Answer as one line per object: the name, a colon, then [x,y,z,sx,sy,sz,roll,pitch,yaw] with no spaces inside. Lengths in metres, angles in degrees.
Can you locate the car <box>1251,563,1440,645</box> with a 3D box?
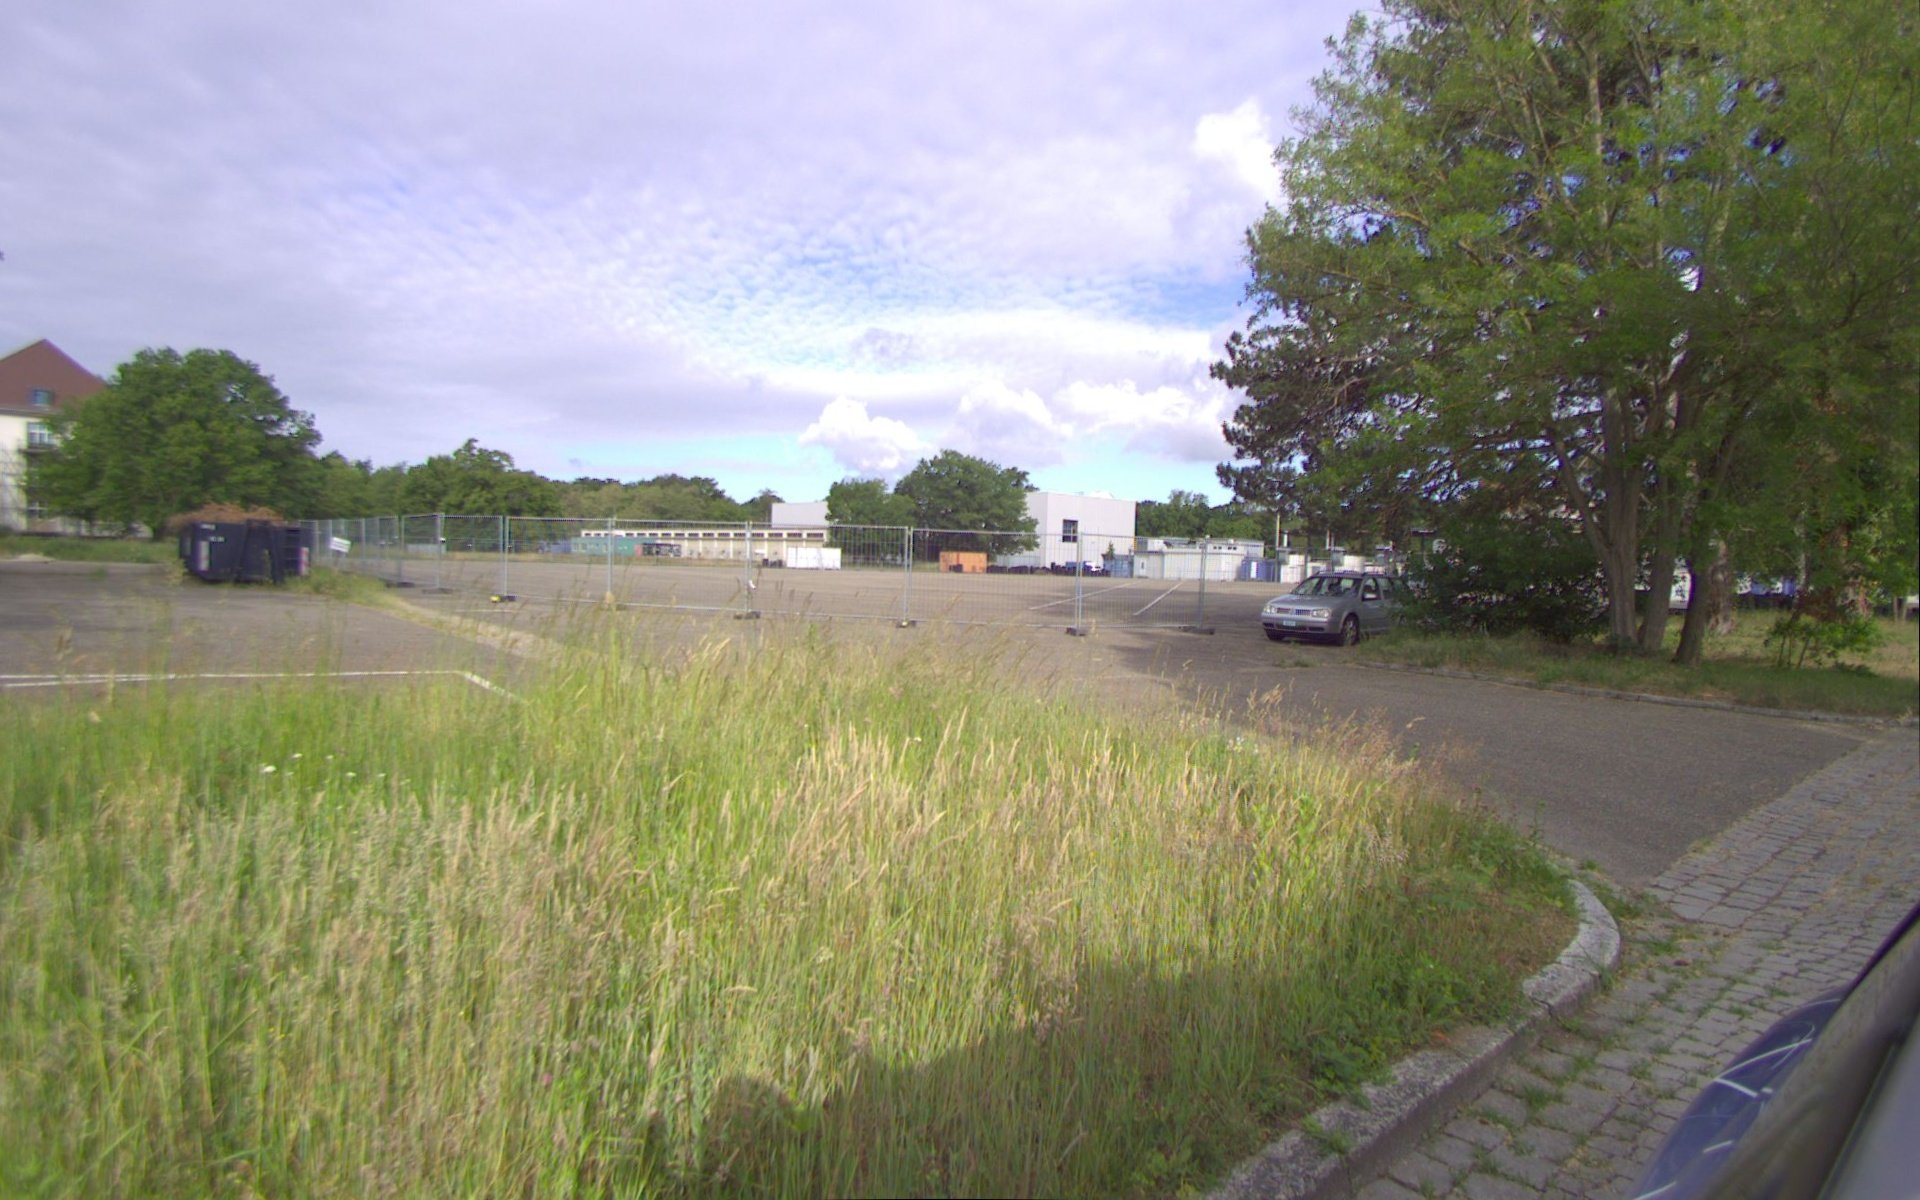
car: [7.988,0.049,20.787,4.250,1.466,1.759,0,3,-40]
